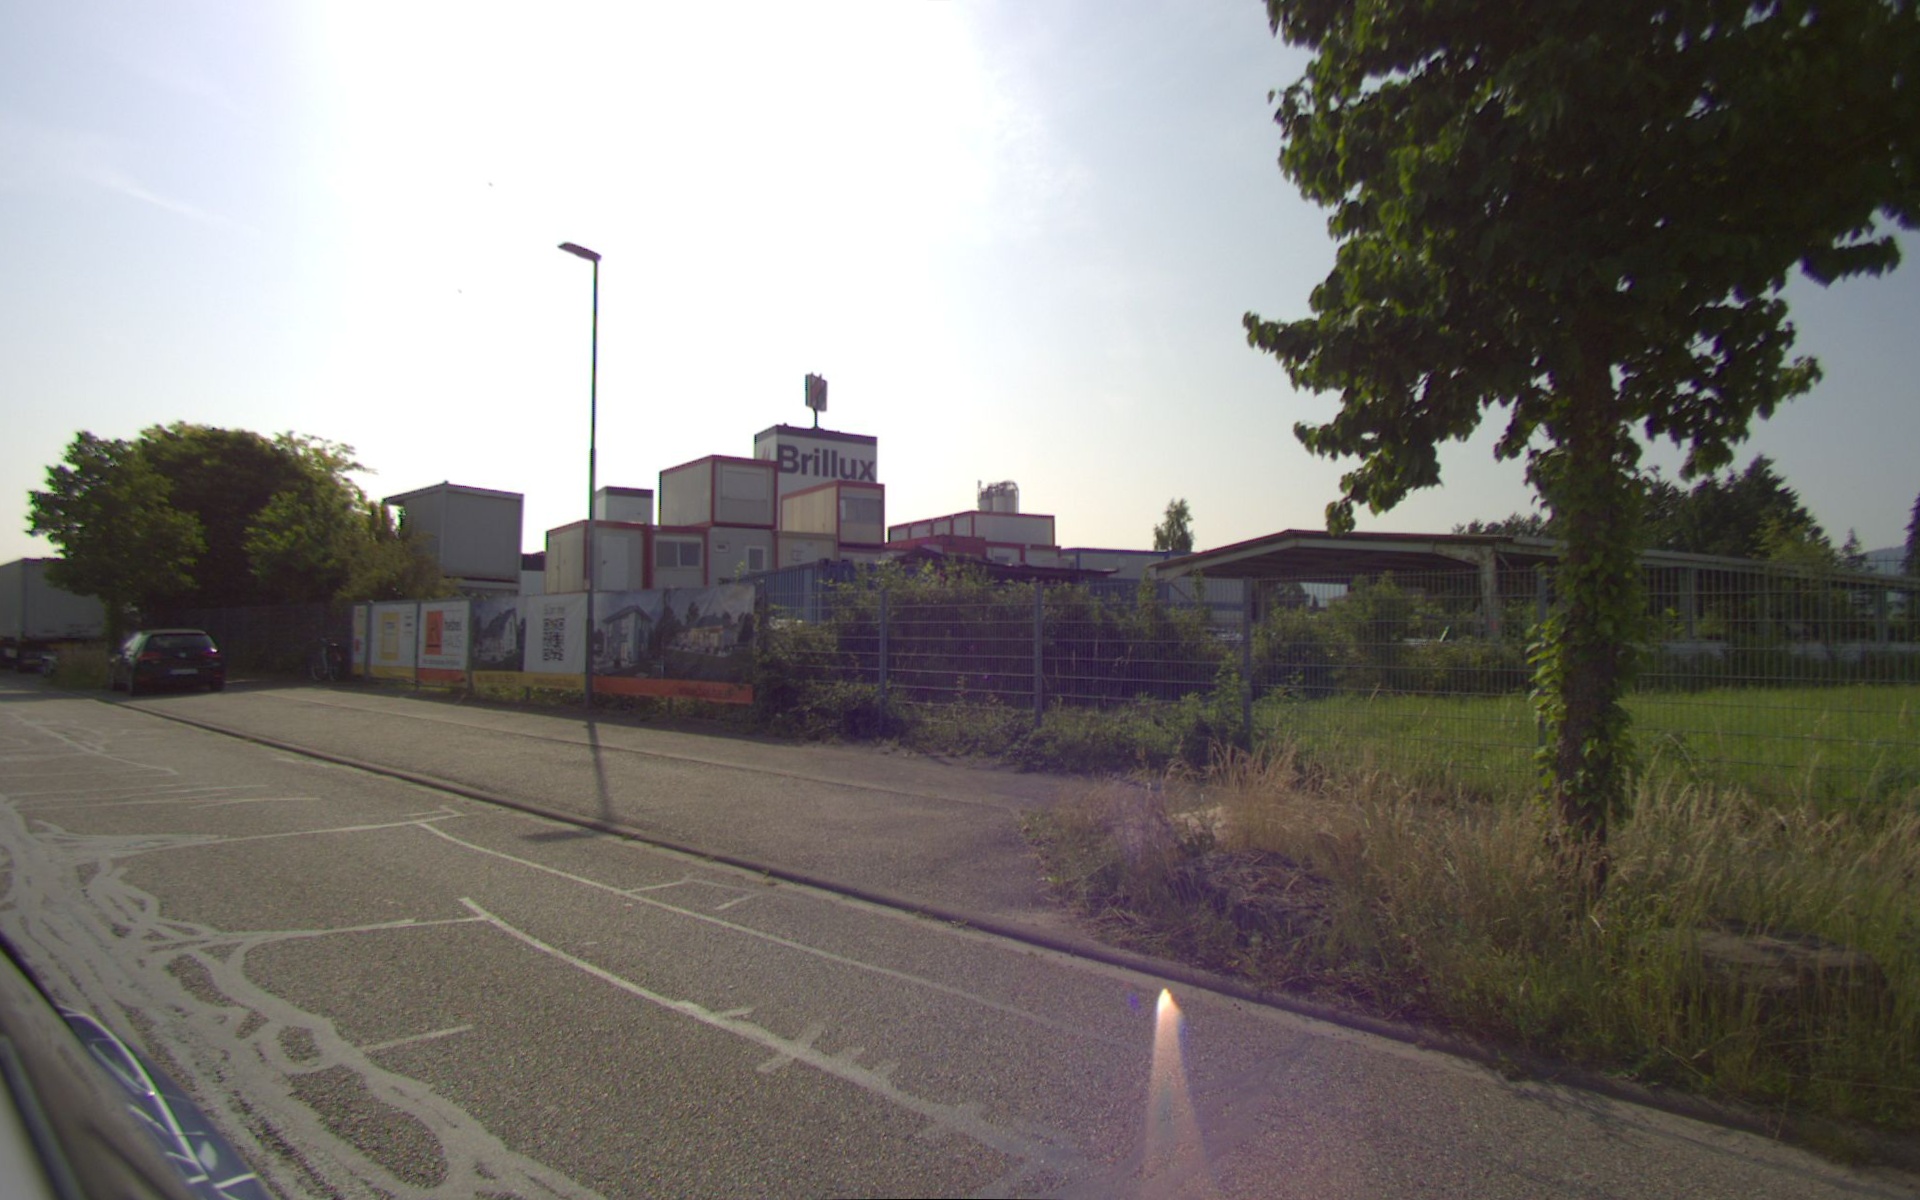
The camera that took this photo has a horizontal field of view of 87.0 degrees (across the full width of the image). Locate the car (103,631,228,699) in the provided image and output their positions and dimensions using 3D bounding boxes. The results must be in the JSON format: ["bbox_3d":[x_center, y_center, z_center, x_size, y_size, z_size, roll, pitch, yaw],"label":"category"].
[{"bbox_3d":[-18.976,1.499,24.111,4.093,1.481,1.669,-2,-3,43],"label":"car"}]

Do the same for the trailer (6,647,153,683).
[{"bbox_3d":[-27.895,2.006,31.988,6.239,0.993,2.621,-2,-3,41],"label":"trailer"}]

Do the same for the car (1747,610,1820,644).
[{"bbox_3d":[44.836,1.490,55.095,3.835,1.821,1.752,1,-3,-29],"label":"car"}]

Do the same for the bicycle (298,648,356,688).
[{"bbox_3d":[-16.398,1.737,26.176,2.451,0.980,0.556,-2,-3,41],"label":"bicycle"}]

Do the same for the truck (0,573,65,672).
[{"bbox_3d":[-41.178,0.992,43.722,9.633,3.914,2.684,-2,-2,42],"label":"truck"}]

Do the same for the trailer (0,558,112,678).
[{"bbox_3d":[-33.933,0.692,37.307,9.760,3.914,2.671,-2,-2,41],"label":"trailer"}]
